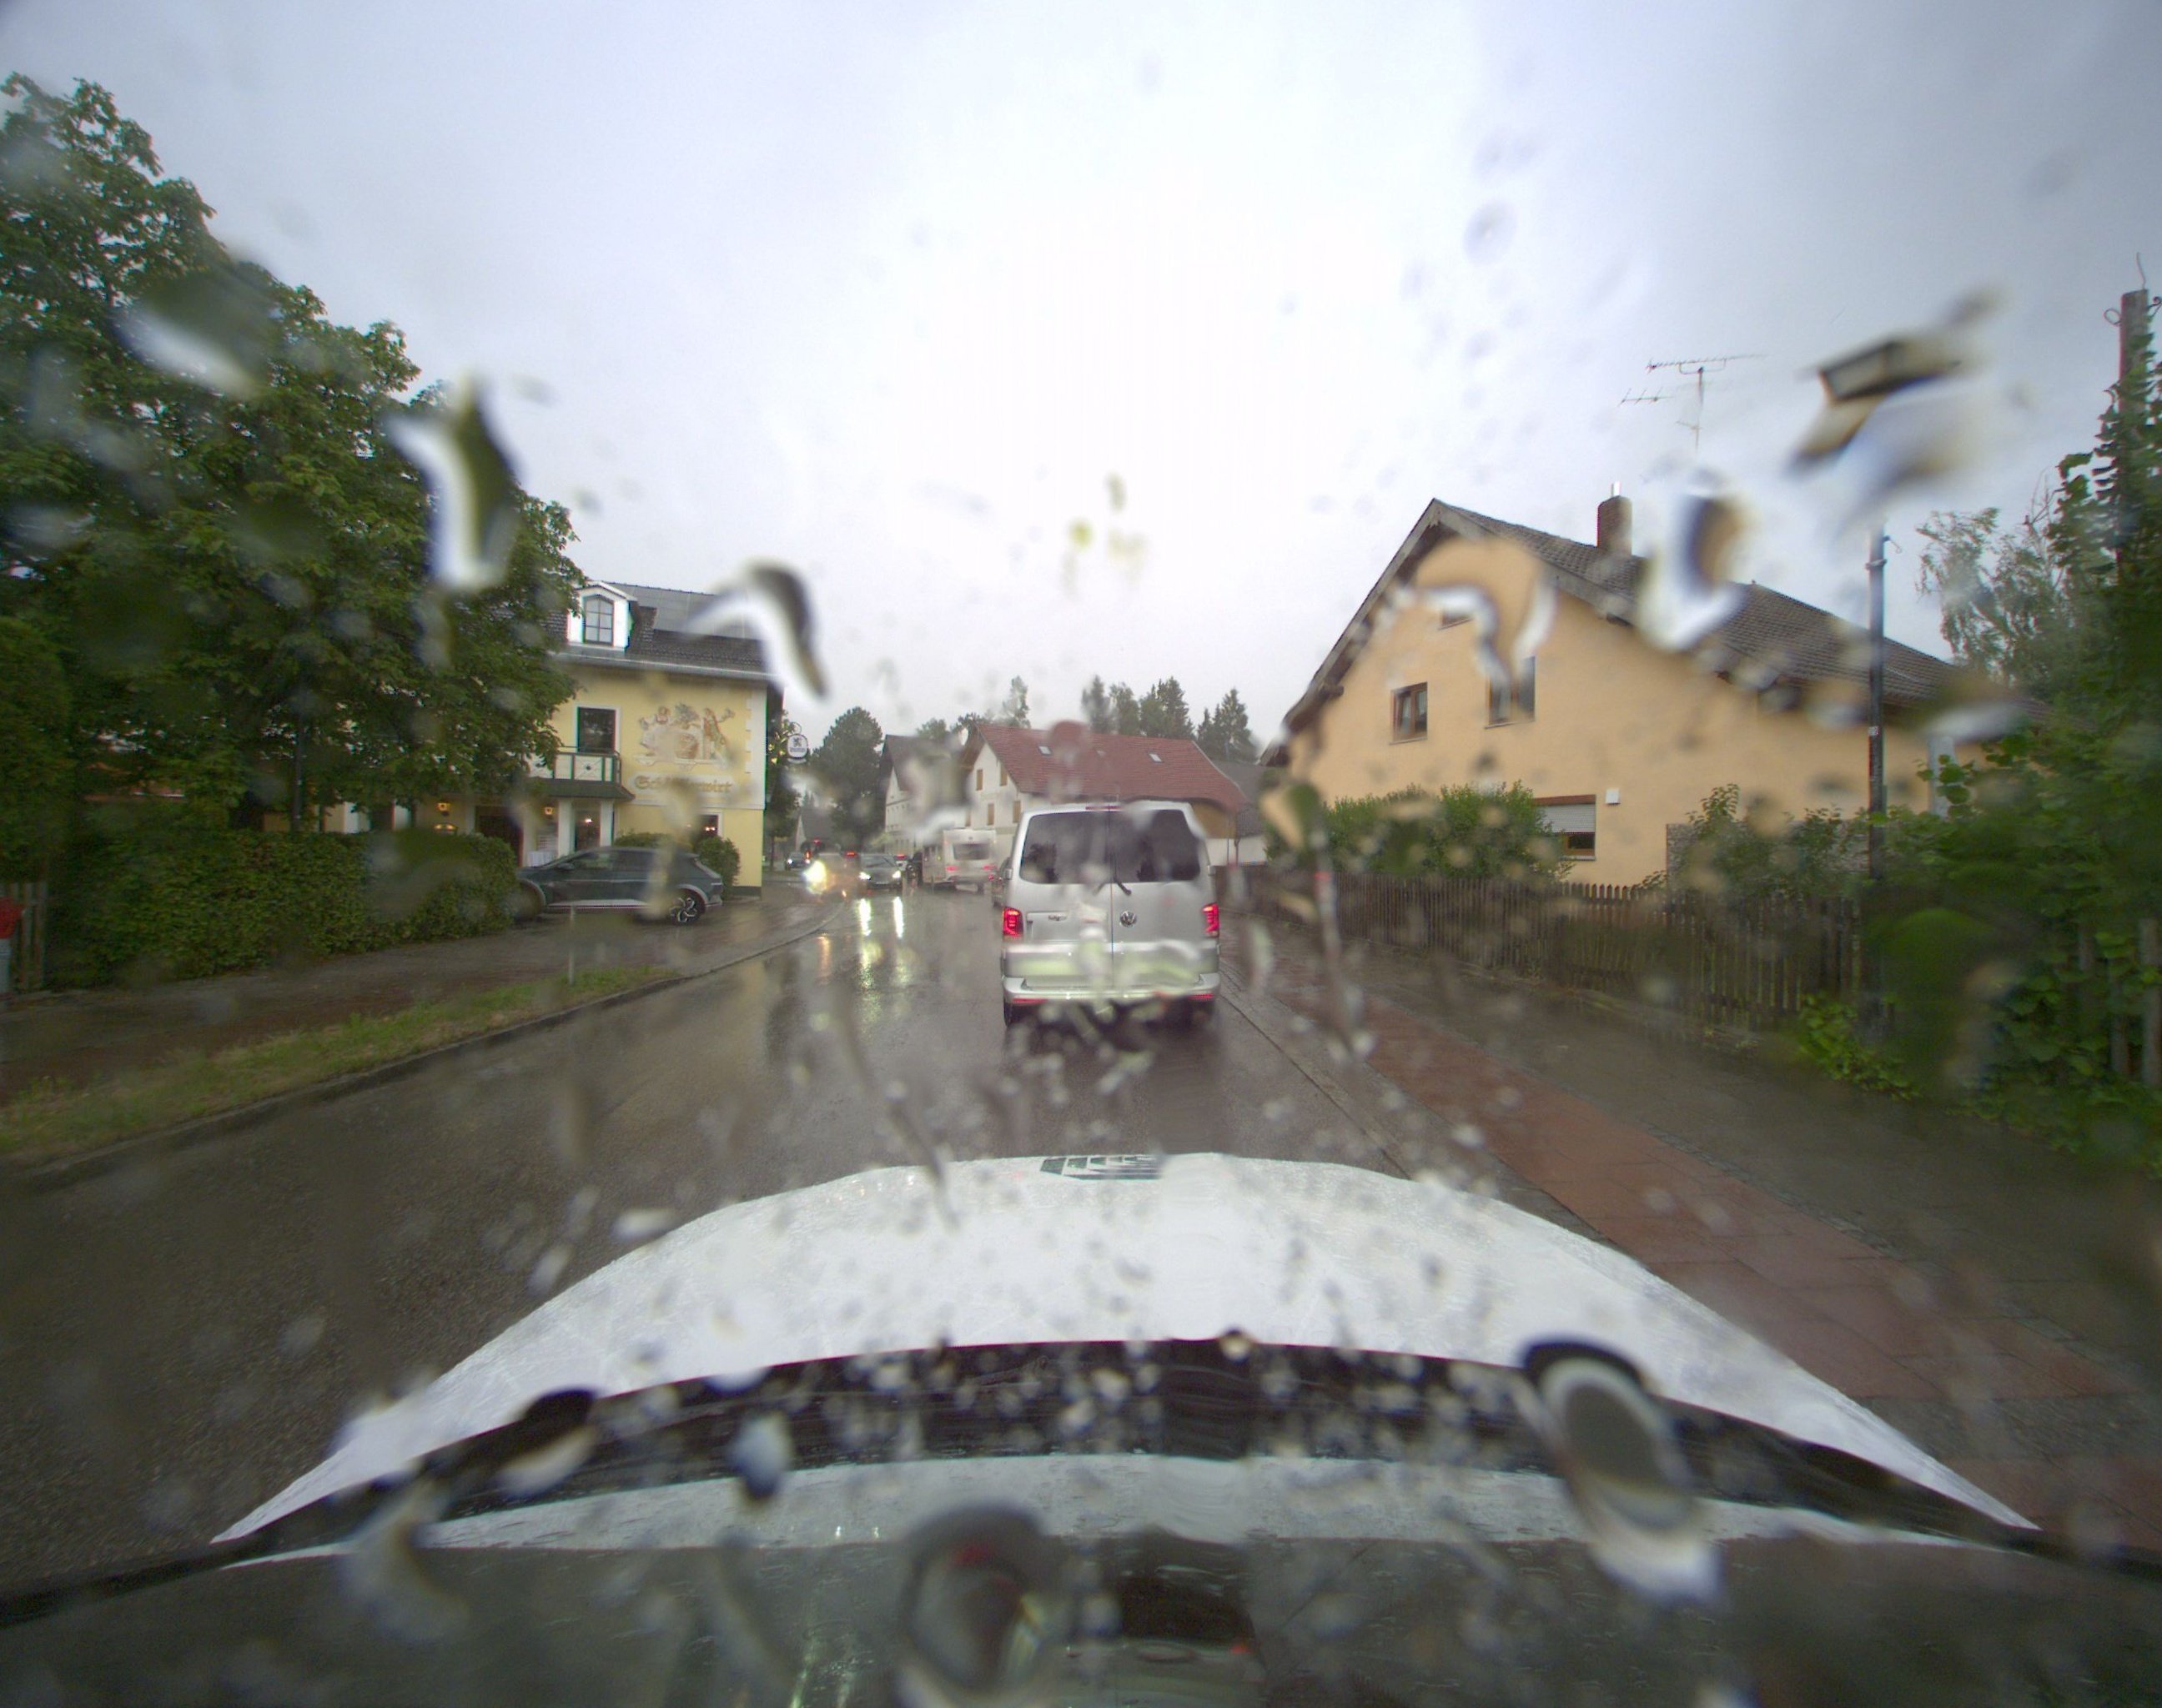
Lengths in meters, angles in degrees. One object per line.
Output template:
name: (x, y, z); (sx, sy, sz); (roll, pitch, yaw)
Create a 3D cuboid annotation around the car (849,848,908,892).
car: (-8.817, 0.648, 35.255); (1.930, 1.744, 4.162); (-1, 0, -21)

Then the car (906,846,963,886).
car: (-7.502, 0.568, 41.313); (2.060, 1.899, 5.141); (0, 0, -20)

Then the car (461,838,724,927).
car: (-10.133, 0.616, 17.314); (4.499, 1.567, 1.824); (4, 0, -27)

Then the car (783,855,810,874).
car: (-24.475, 0.884, 70.030); (1.597, 1.610, 3.504); (-1, 0, -30)

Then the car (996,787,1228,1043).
car: (0.344, 0.481, 8.861); (1.769, 1.962, 5.077); (-1, 0, 2)

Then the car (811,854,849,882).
car: (-16.256, 0.883, 52.649); (1.762, 1.677, 3.966); (-1, 0, -25)

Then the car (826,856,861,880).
car: (-20.517, 1.144, 70.287); (2.179, 1.899, 4.974); (1, 0, -24)

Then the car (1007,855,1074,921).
car: (-1.245, 0.877, 23.431); (1.706, 1.584, 4.677); (-2, 1, -5)

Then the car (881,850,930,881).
car: (-11.658, 0.768, 53.897); (2.179, 1.899, 4.973); (1, -1, -24)

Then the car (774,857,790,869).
car: (-50.151, 1.447, 136.640); (2.179, 1.899, 4.974); (1, 0, -24)

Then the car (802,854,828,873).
car: (-29.081, 1.036, 89.048); (2.179, 1.899, 4.974); (1, 0, -24)

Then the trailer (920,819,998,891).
trailer: (-5.501, 0.062, 36.040); (2.278, 2.904, 6.091); (0, 0, -20)
